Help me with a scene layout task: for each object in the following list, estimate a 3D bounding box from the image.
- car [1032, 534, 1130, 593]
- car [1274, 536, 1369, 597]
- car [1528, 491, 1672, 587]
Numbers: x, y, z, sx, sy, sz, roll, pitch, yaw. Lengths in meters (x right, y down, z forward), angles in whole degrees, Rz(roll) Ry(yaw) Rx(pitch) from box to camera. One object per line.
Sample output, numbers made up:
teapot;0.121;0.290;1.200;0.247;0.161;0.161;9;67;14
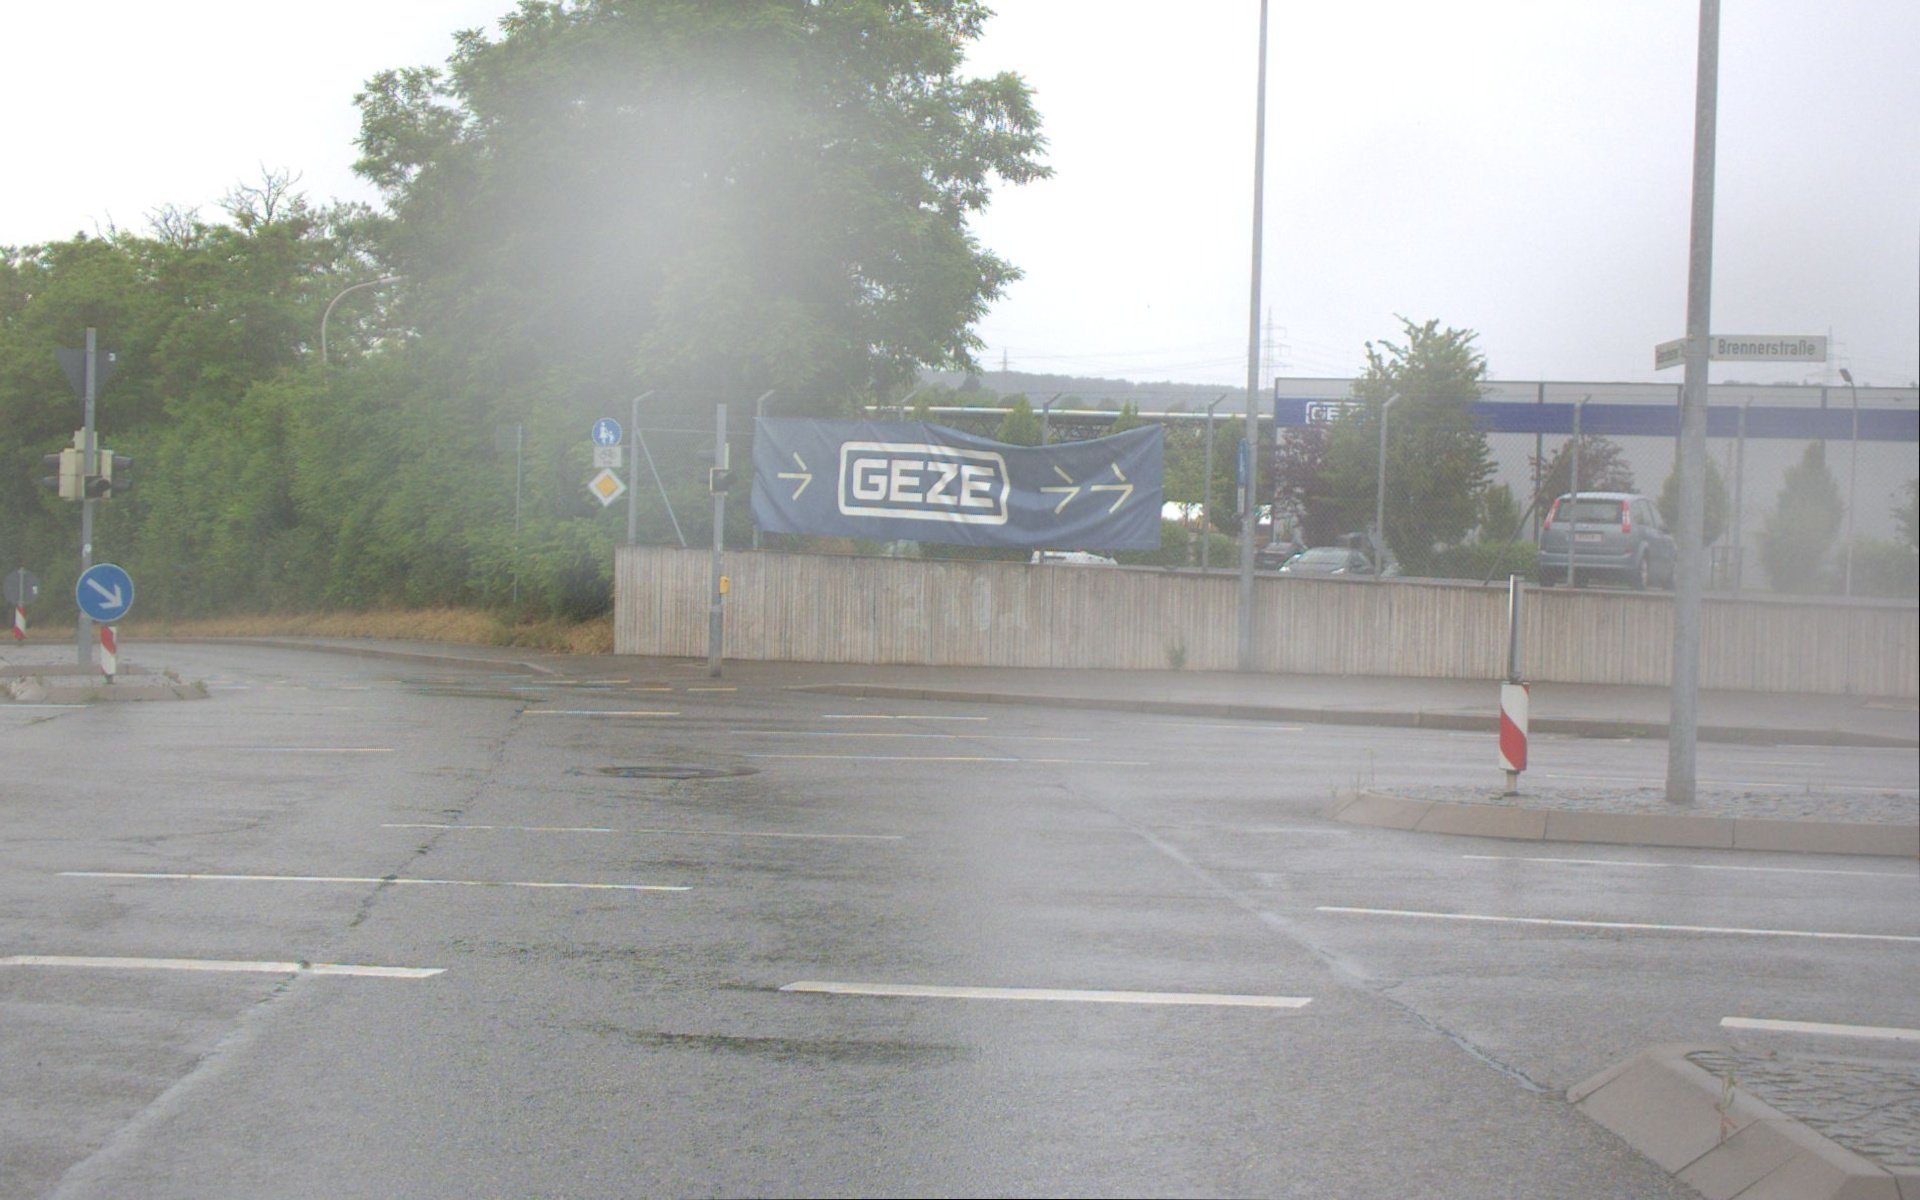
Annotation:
car;3.396;-1.016;95.906;1.668;1.601;3.527;1;1;21
car;9.751;-0.896;92.604;1.668;1.601;3.527;1;1;21
car;10.714;-0.999;57.439;1.744;1.548;3.527;1;1;21
